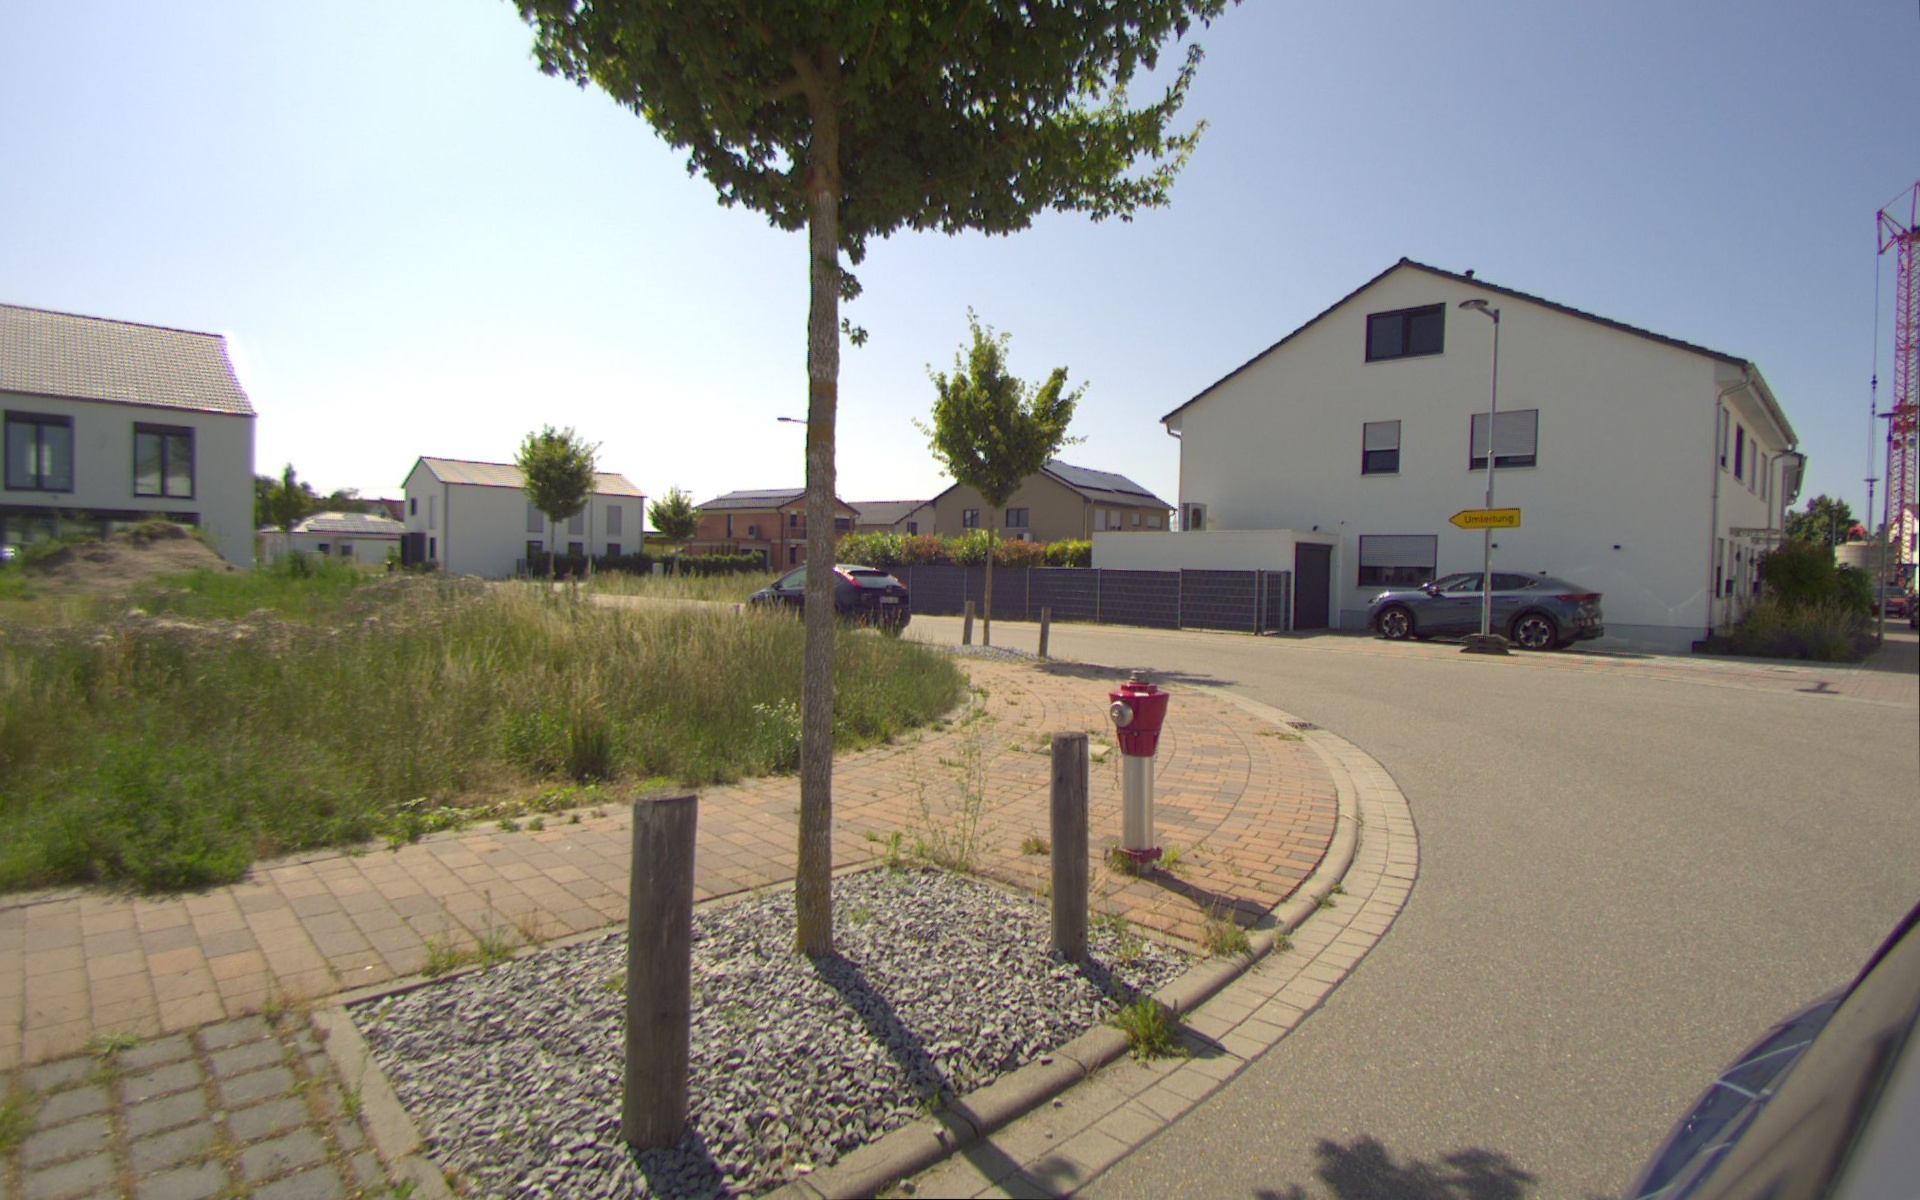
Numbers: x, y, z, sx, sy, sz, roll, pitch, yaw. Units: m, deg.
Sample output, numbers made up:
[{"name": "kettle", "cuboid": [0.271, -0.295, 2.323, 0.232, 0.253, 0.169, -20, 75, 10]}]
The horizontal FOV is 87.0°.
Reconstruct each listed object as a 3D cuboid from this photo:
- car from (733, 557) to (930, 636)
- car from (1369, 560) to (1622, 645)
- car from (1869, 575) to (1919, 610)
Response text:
[{"name": "car", "cuboid": [-2.768, -0.154, 21.343, 4.176, 1.512, 1.823, 2, 3, 41]}, {"name": "car", "cuboid": [11.255, -0.014, 21.474, 1.928, 1.577, 4.340, 0, 2, -44]}, {"name": "car", "cuboid": [47.116, -0.408, 50.817, 1.793, 1.637, 3.629, 2, 3, 36]}]
